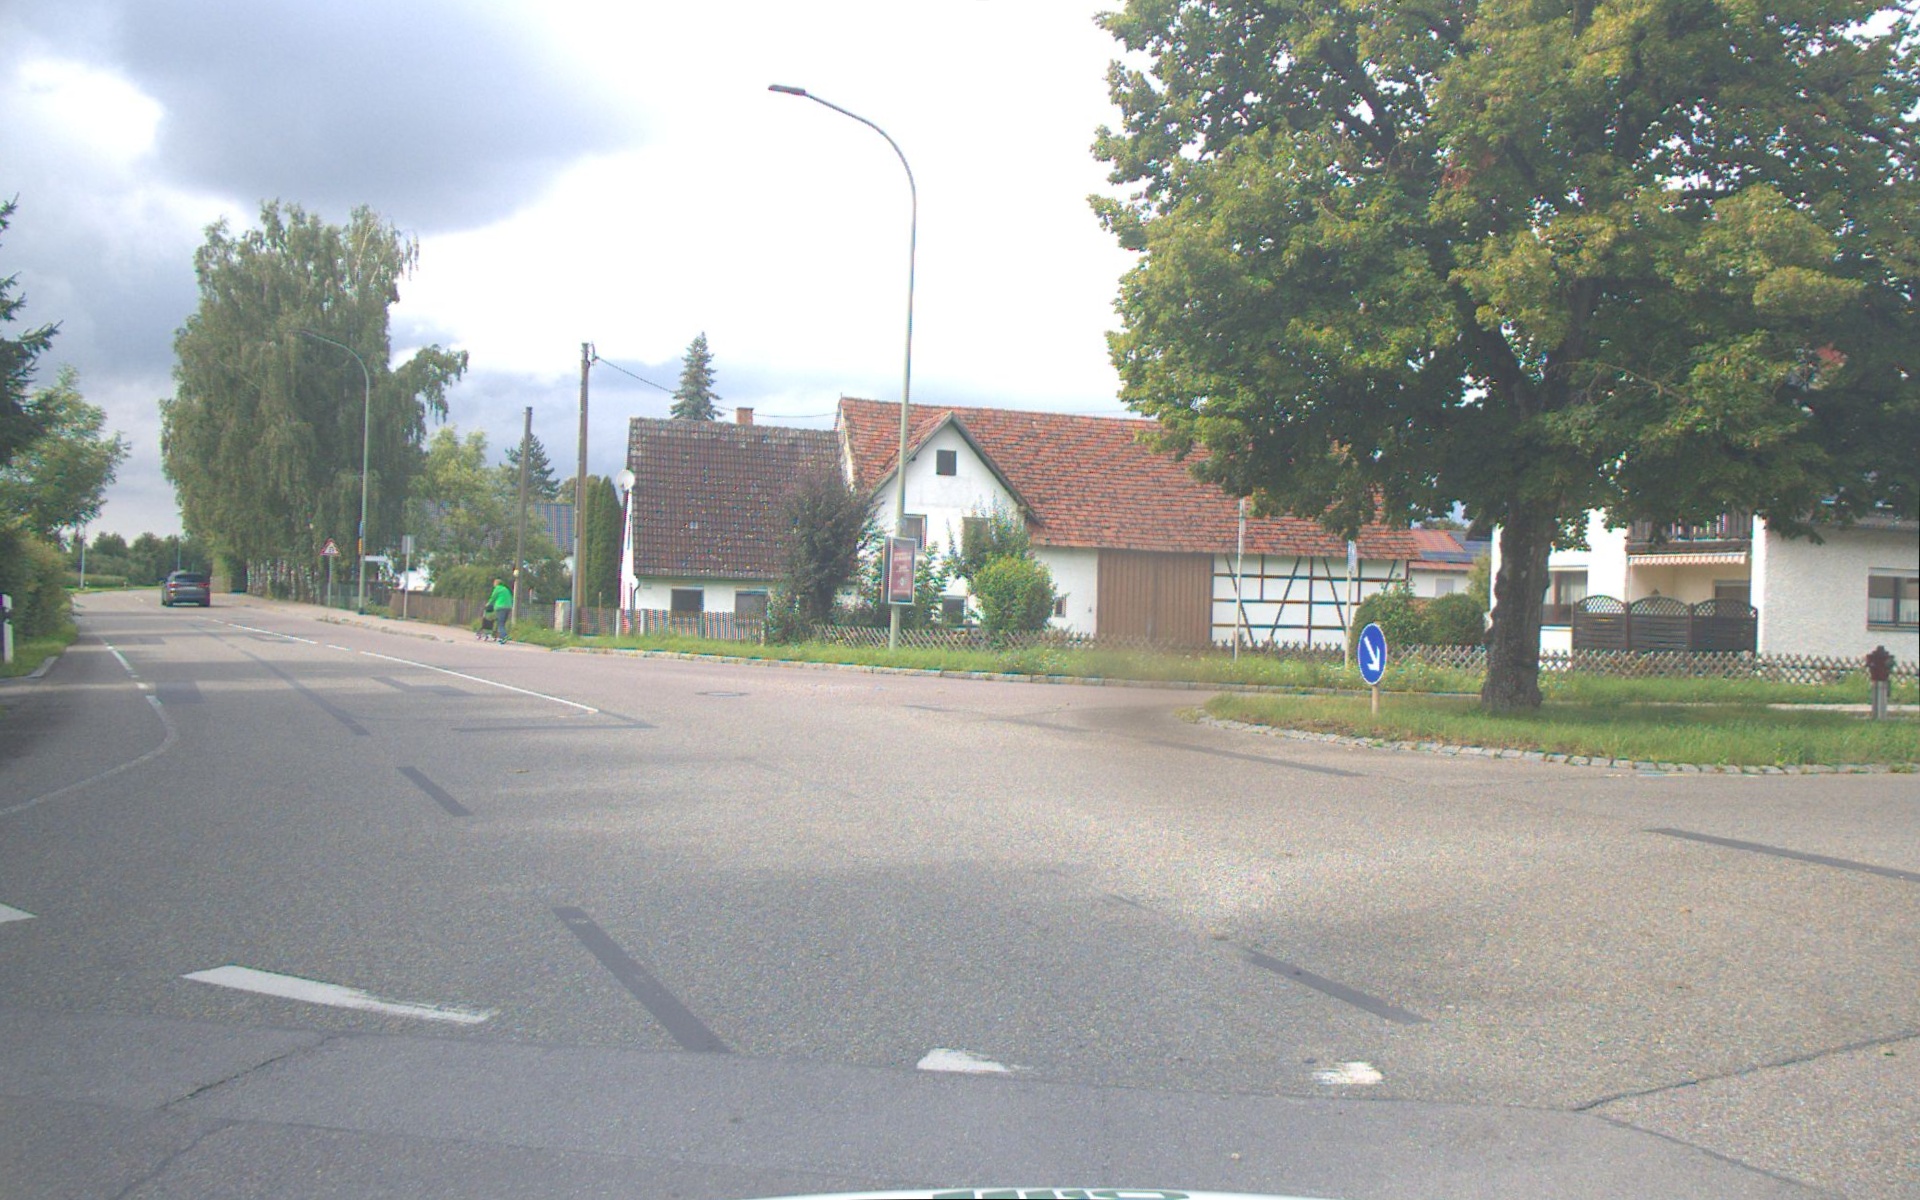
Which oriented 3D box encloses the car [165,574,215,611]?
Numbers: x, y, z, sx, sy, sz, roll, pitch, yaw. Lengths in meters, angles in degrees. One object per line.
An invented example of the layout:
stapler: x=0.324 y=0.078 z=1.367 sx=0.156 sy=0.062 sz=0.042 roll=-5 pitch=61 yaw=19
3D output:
car: x=-35.513 y=-0.345 z=76.360 sx=1.968 sy=1.579 sz=3.969 roll=2 pitch=0 yaw=-25

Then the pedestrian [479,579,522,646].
pedestrian: x=-12.257 y=0.335 z=44.126 sx=0.781 sy=1.694 sz=0.704 roll=7 pitch=-3 yaw=-33

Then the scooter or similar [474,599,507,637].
scooter or similar: x=-12.691 y=0.482 z=44.688 sx=0.625 sy=0.964 sz=0.615 roll=7 pitch=-3 yaw=-33
